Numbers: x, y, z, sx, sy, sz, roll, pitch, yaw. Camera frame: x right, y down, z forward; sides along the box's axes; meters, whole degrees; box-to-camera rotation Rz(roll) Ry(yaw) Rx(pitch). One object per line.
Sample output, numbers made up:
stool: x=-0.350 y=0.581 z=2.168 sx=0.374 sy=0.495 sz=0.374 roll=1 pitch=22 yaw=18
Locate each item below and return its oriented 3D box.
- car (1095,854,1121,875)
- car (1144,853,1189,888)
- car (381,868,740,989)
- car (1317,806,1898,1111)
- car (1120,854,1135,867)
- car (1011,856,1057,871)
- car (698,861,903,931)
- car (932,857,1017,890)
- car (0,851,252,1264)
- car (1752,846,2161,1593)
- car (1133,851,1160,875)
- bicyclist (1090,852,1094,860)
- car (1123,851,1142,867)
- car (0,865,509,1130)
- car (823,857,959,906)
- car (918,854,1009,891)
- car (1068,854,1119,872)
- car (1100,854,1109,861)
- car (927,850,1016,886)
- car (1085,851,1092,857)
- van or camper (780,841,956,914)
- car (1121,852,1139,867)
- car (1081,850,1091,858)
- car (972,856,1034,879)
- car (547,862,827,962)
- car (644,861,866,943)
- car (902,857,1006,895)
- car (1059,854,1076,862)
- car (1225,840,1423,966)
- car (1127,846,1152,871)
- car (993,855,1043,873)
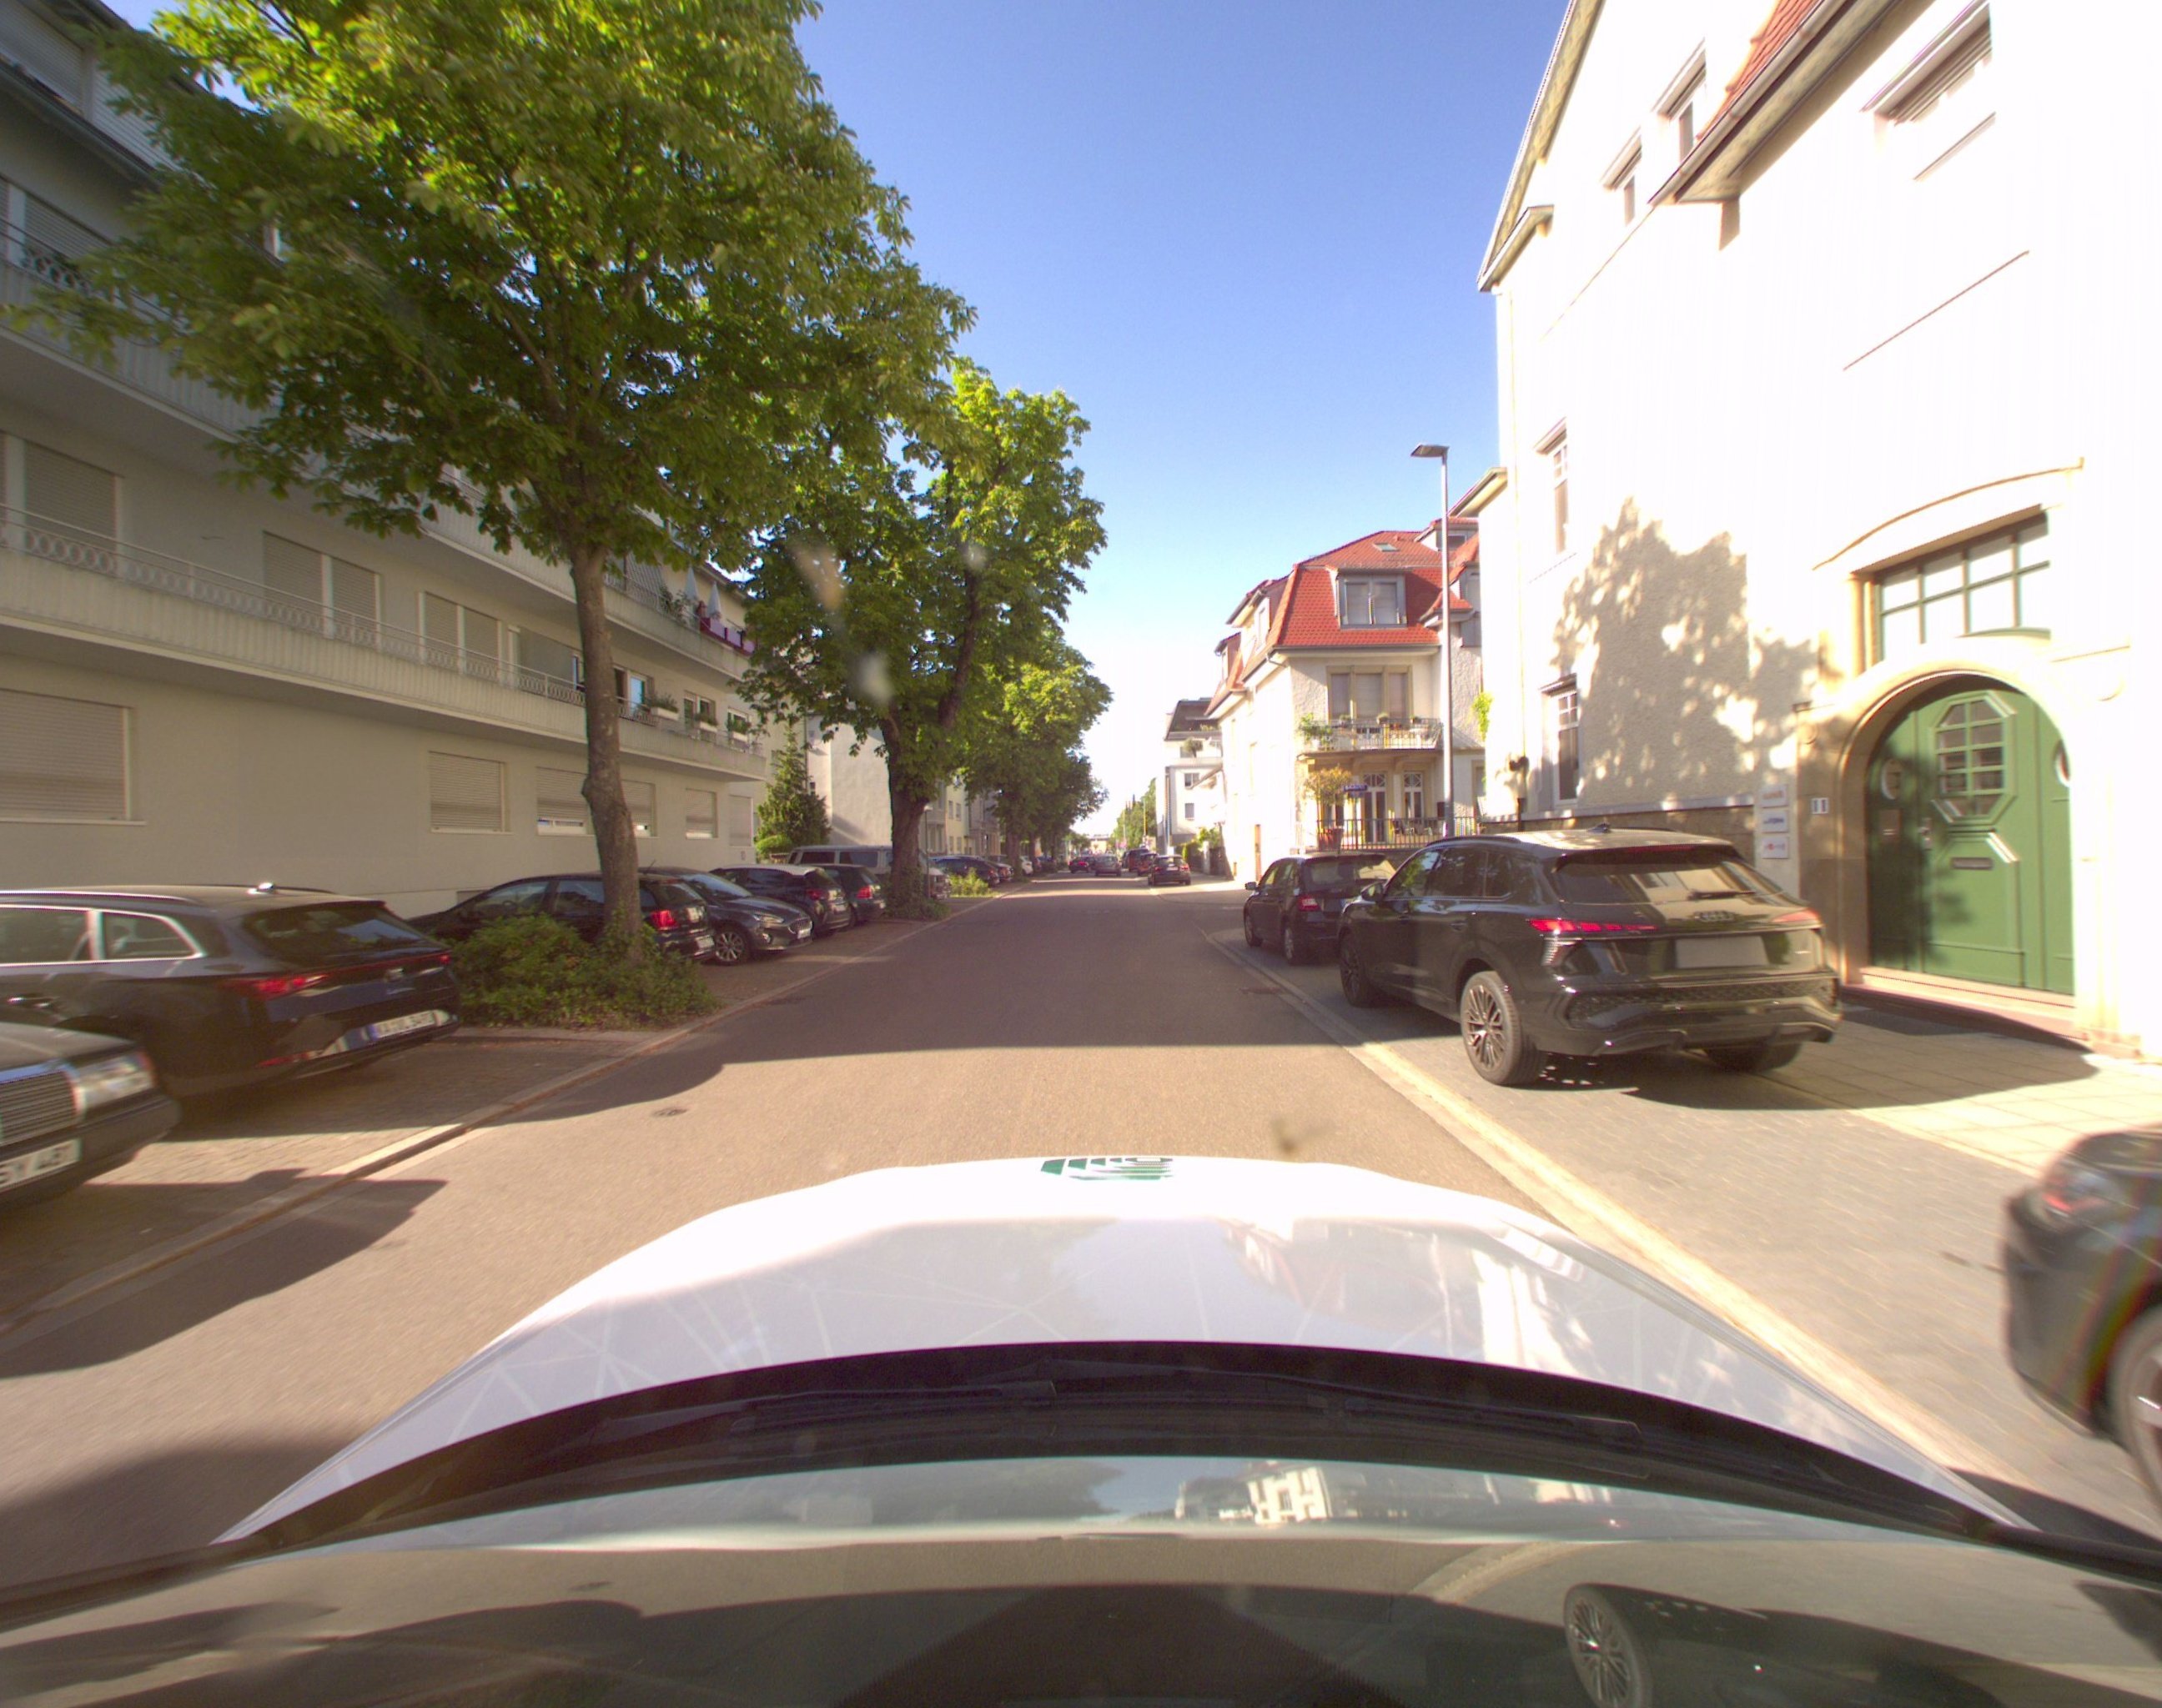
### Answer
car: x=1.906 y=0.758 z=56.659 sx=1.720 sy=1.420 sz=3.962 roll=1 pitch=-1 yaw=2
car: x=3.979 y=0.724 z=38.381 sx=1.614 sy=1.440 sz=3.934 roll=-4 pitch=0 yaw=0
car: x=-6.532 y=0.899 z=10.565 sx=3.471 sy=1.420 sz=1.708 roll=0 pitch=-1 yaw=-4
car: x=3.396 y=0.585 z=6.463 sx=1.785 sy=1.520 sz=4.367 roll=-3 pitch=-1 yaw=1
car: x=5.330 y=0.779 z=94.186 sx=1.558 sy=1.410 sz=3.732 roll=-5 pitch=-1 yaw=2
car: x=-4.662 y=0.965 z=80.835 sx=4.460 sy=1.479 sz=1.868 roll=0 pitch=-1 yaw=-1
car: x=-6.084 y=0.890 z=17.980 sx=3.910 sy=1.414 sz=1.715 roll=0 pitch=0 yaw=-1
car: x=-5.249 y=0.947 z=40.523 sx=3.973 sy=1.468 sz=1.697 roll=-2 pitch=0 yaw=0
car: x=-6.549 y=0.752 z=3.175 sx=4.576 sy=1.607 sz=1.832 roll=2 pitch=0 yaw=-2
car: x=2.932 y=0.679 z=0.412 sx=1.703 sy=1.436 sz=4.193 roll=-3 pitch=-1 yaw=1
car: x=4.393 y=0.597 z=54.829 sx=1.586 sy=1.480 sz=3.248 roll=-3 pitch=0 yaw=1
bicyclist: x=2.191 y=0.425 z=158.550 sx=0.718 sy=1.537 sz=1.137 roll=-2 pitch=0 yaw=1
car: x=5.268 y=0.508 z=84.045 sx=1.730 sy=1.531 sz=4.180 roll=-2 pitch=0 yaw=1
car: x=-6.688 y=0.854 z=5.628 sx=4.174 sy=1.441 sz=1.713 roll=1 pitch=0 yaw=0
car: x=-6.069 y=0.860 z=26.241 sx=3.929 sy=1.498 sz=1.664 roll=0 pitch=1 yaw=3
car: x=-5.474 y=0.858 z=38.300 sx=3.975 sy=1.592 sz=1.878 roll=-2 pitch=0 yaw=-1
car: x=1.072 y=0.784 z=67.981 sx=4.225 sy=1.448 sz=1.692 roll=2 pitch=-2 yaw=-42
car: x=5.173 y=0.732 z=178.971 sx=1.718 sy=1.330 sz=3.995 roll=-2 pitch=0 yaw=-3
car: x=-5.799 y=0.753 z=43.614 sx=4.369 sy=1.652 sz=1.824 roll=-3 pitch=1 yaw=2
car: x=1.860 y=0.000 z=200.530 sx=1.781 sy=1.532 sz=3.999 roll=-2 pitch=0 yaw=-1
van or camper: x=-6.021 y=0.663 z=23.410 sx=4.481 sy=1.914 sz=1.964 roll=-1 pitch=0 yaw=1
car: x=5.377 y=0.610 z=89.988 sx=1.676 sy=1.435 sz=4.267 roll=-5 pitch=-1 yaw=1
car: x=1.024 y=0.051 z=176.598 sx=1.868 sy=1.728 sz=3.995 roll=-2 pitch=0 yaw=-3
car: x=-5.296 y=0.910 z=55.539 sx=4.009 sy=1.485 sz=1.807 roll=1 pitch=0 yaw=0
car: x=-6.171 y=0.867 z=13.033 sx=3.628 sy=1.463 sz=1.711 roll=0 pitch=-1 yaw=3
car: x=-6.123 y=0.869 z=15.574 sx=3.465 sy=1.458 sz=1.798 roll=0 pitch=-1 yaw=2
car: x=-5.478 y=0.921 z=35.470 sx=4.173 sy=1.498 sz=1.861 roll=-2 pitch=0 yaw=0
car: x=-2.789 y=0.844 z=171.506 sx=3.488 sy=1.533 sz=1.642 roll=-2 pitch=0 yaw=-6
car: x=3.447 y=0.660 z=12.361 sx=1.658 sy=1.520 sz=3.998 roll=-3 pitch=-1 yaw=-2
car: x=4.812 y=0.390 z=67.230 sx=1.864 sy=1.905 sz=5.200 roll=-2 pitch=-1 yaw=3
car: x=-5.236 y=0.840 z=68.145 sx=3.974 sy=1.421 sz=1.771 roll=0 pitch=1 yaw=0
